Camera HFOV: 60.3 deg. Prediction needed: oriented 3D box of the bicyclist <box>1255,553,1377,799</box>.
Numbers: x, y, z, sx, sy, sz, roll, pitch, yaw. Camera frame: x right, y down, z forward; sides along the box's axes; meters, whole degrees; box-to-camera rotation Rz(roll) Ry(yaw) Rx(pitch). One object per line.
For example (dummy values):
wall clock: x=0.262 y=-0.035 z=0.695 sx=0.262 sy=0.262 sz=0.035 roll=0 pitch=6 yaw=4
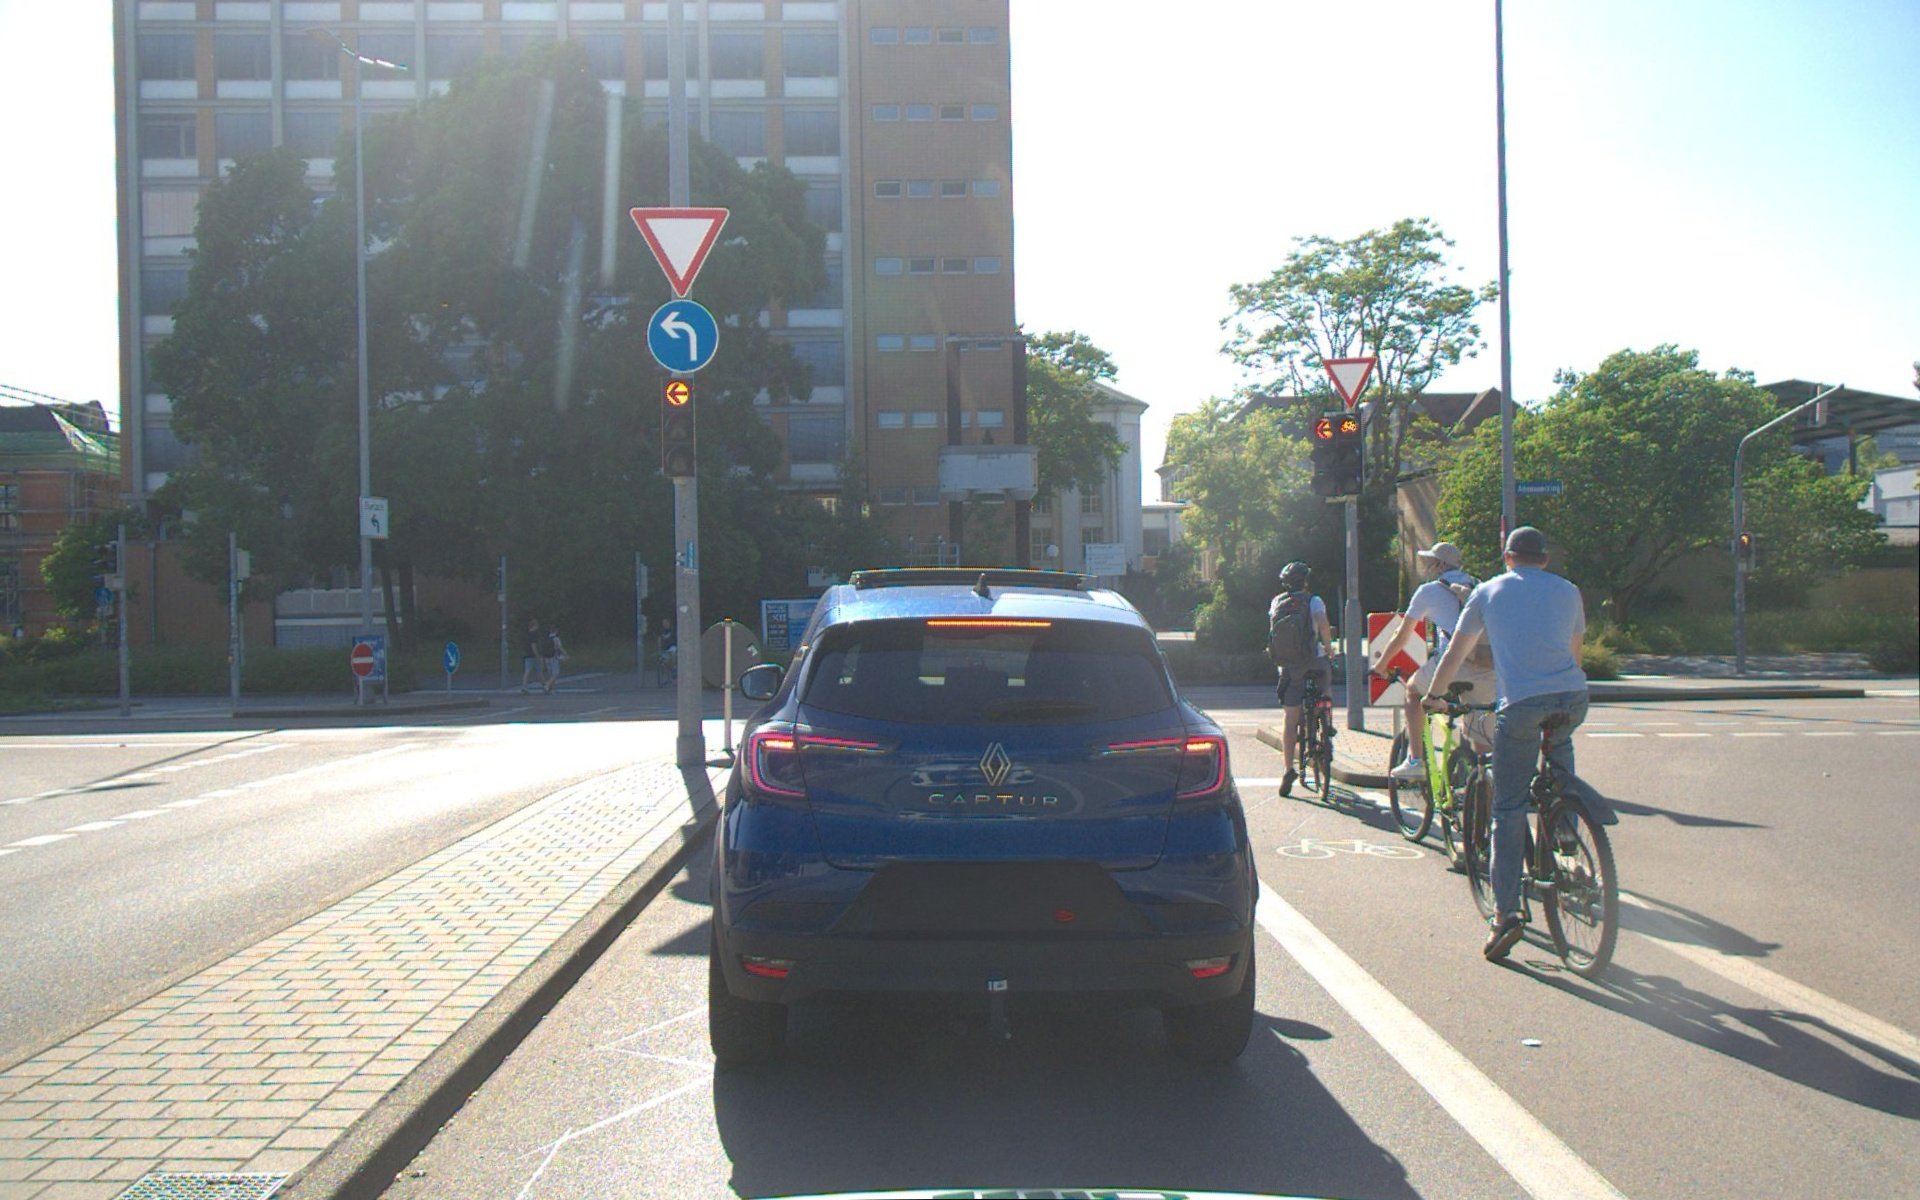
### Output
bicyclist: x=2.740 y=0.565 z=12.829 sx=0.685 sy=1.822 sz=1.142 roll=0 pitch=0 yaw=-1

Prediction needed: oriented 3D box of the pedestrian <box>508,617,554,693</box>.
pedestrian: x=-10.934 y=1.404 z=42.176 sx=0.796 sy=1.895 sz=0.910 roll=-1 pitch=0 yaw=13

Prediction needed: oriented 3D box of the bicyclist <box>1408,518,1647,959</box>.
bicyclist: x=2.504 y=0.575 z=7.418 sx=0.669 sy=1.822 sz=1.142 roll=0 pitch=0 yaw=-1

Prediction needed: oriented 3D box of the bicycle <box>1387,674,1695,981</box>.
bicycle: x=2.503 y=0.924 z=7.381 sx=0.675 sy=1.108 sz=1.922 roll=0 pitch=0 yaw=-1

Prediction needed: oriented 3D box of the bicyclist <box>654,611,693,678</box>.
bicyclist: x=-7.552 y=1.162 z=43.656 sx=0.739 sy=1.746 sz=0.999 roll=-1 pitch=0 yaw=5

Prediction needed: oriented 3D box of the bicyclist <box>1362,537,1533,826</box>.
bicyclist: x=2.882 y=0.459 z=9.877 sx=0.664 sy=1.622 sz=1.142 roll=0 pitch=0 yaw=-1

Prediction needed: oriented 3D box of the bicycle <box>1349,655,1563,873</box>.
bicycle: x=2.897 y=0.914 z=9.868 sx=0.675 sy=1.108 sz=1.922 roll=0 pitch=0 yaw=-1

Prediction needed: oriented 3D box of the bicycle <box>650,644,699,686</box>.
bicycle: x=-7.533 y=1.704 z=43.758 sx=0.739 sy=1.002 sz=2.095 roll=-1 pitch=0 yaw=5

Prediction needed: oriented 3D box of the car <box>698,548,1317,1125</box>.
car: x=0.054 y=0.667 z=6.634 sx=1.753 sy=1.613 sz=3.912 roll=0 pitch=0 yaw=-3

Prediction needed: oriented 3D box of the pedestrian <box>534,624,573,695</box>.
pedestrian: x=-10.225 y=1.498 z=41.640 sx=0.666 sy=1.761 sz=0.761 roll=-1 pitch=0 yaw=13

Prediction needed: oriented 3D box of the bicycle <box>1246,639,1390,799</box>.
bicycle: x=2.740 y=0.875 z=12.844 sx=0.675 sy=1.108 sz=1.922 roll=0 pitch=0 yaw=-1
